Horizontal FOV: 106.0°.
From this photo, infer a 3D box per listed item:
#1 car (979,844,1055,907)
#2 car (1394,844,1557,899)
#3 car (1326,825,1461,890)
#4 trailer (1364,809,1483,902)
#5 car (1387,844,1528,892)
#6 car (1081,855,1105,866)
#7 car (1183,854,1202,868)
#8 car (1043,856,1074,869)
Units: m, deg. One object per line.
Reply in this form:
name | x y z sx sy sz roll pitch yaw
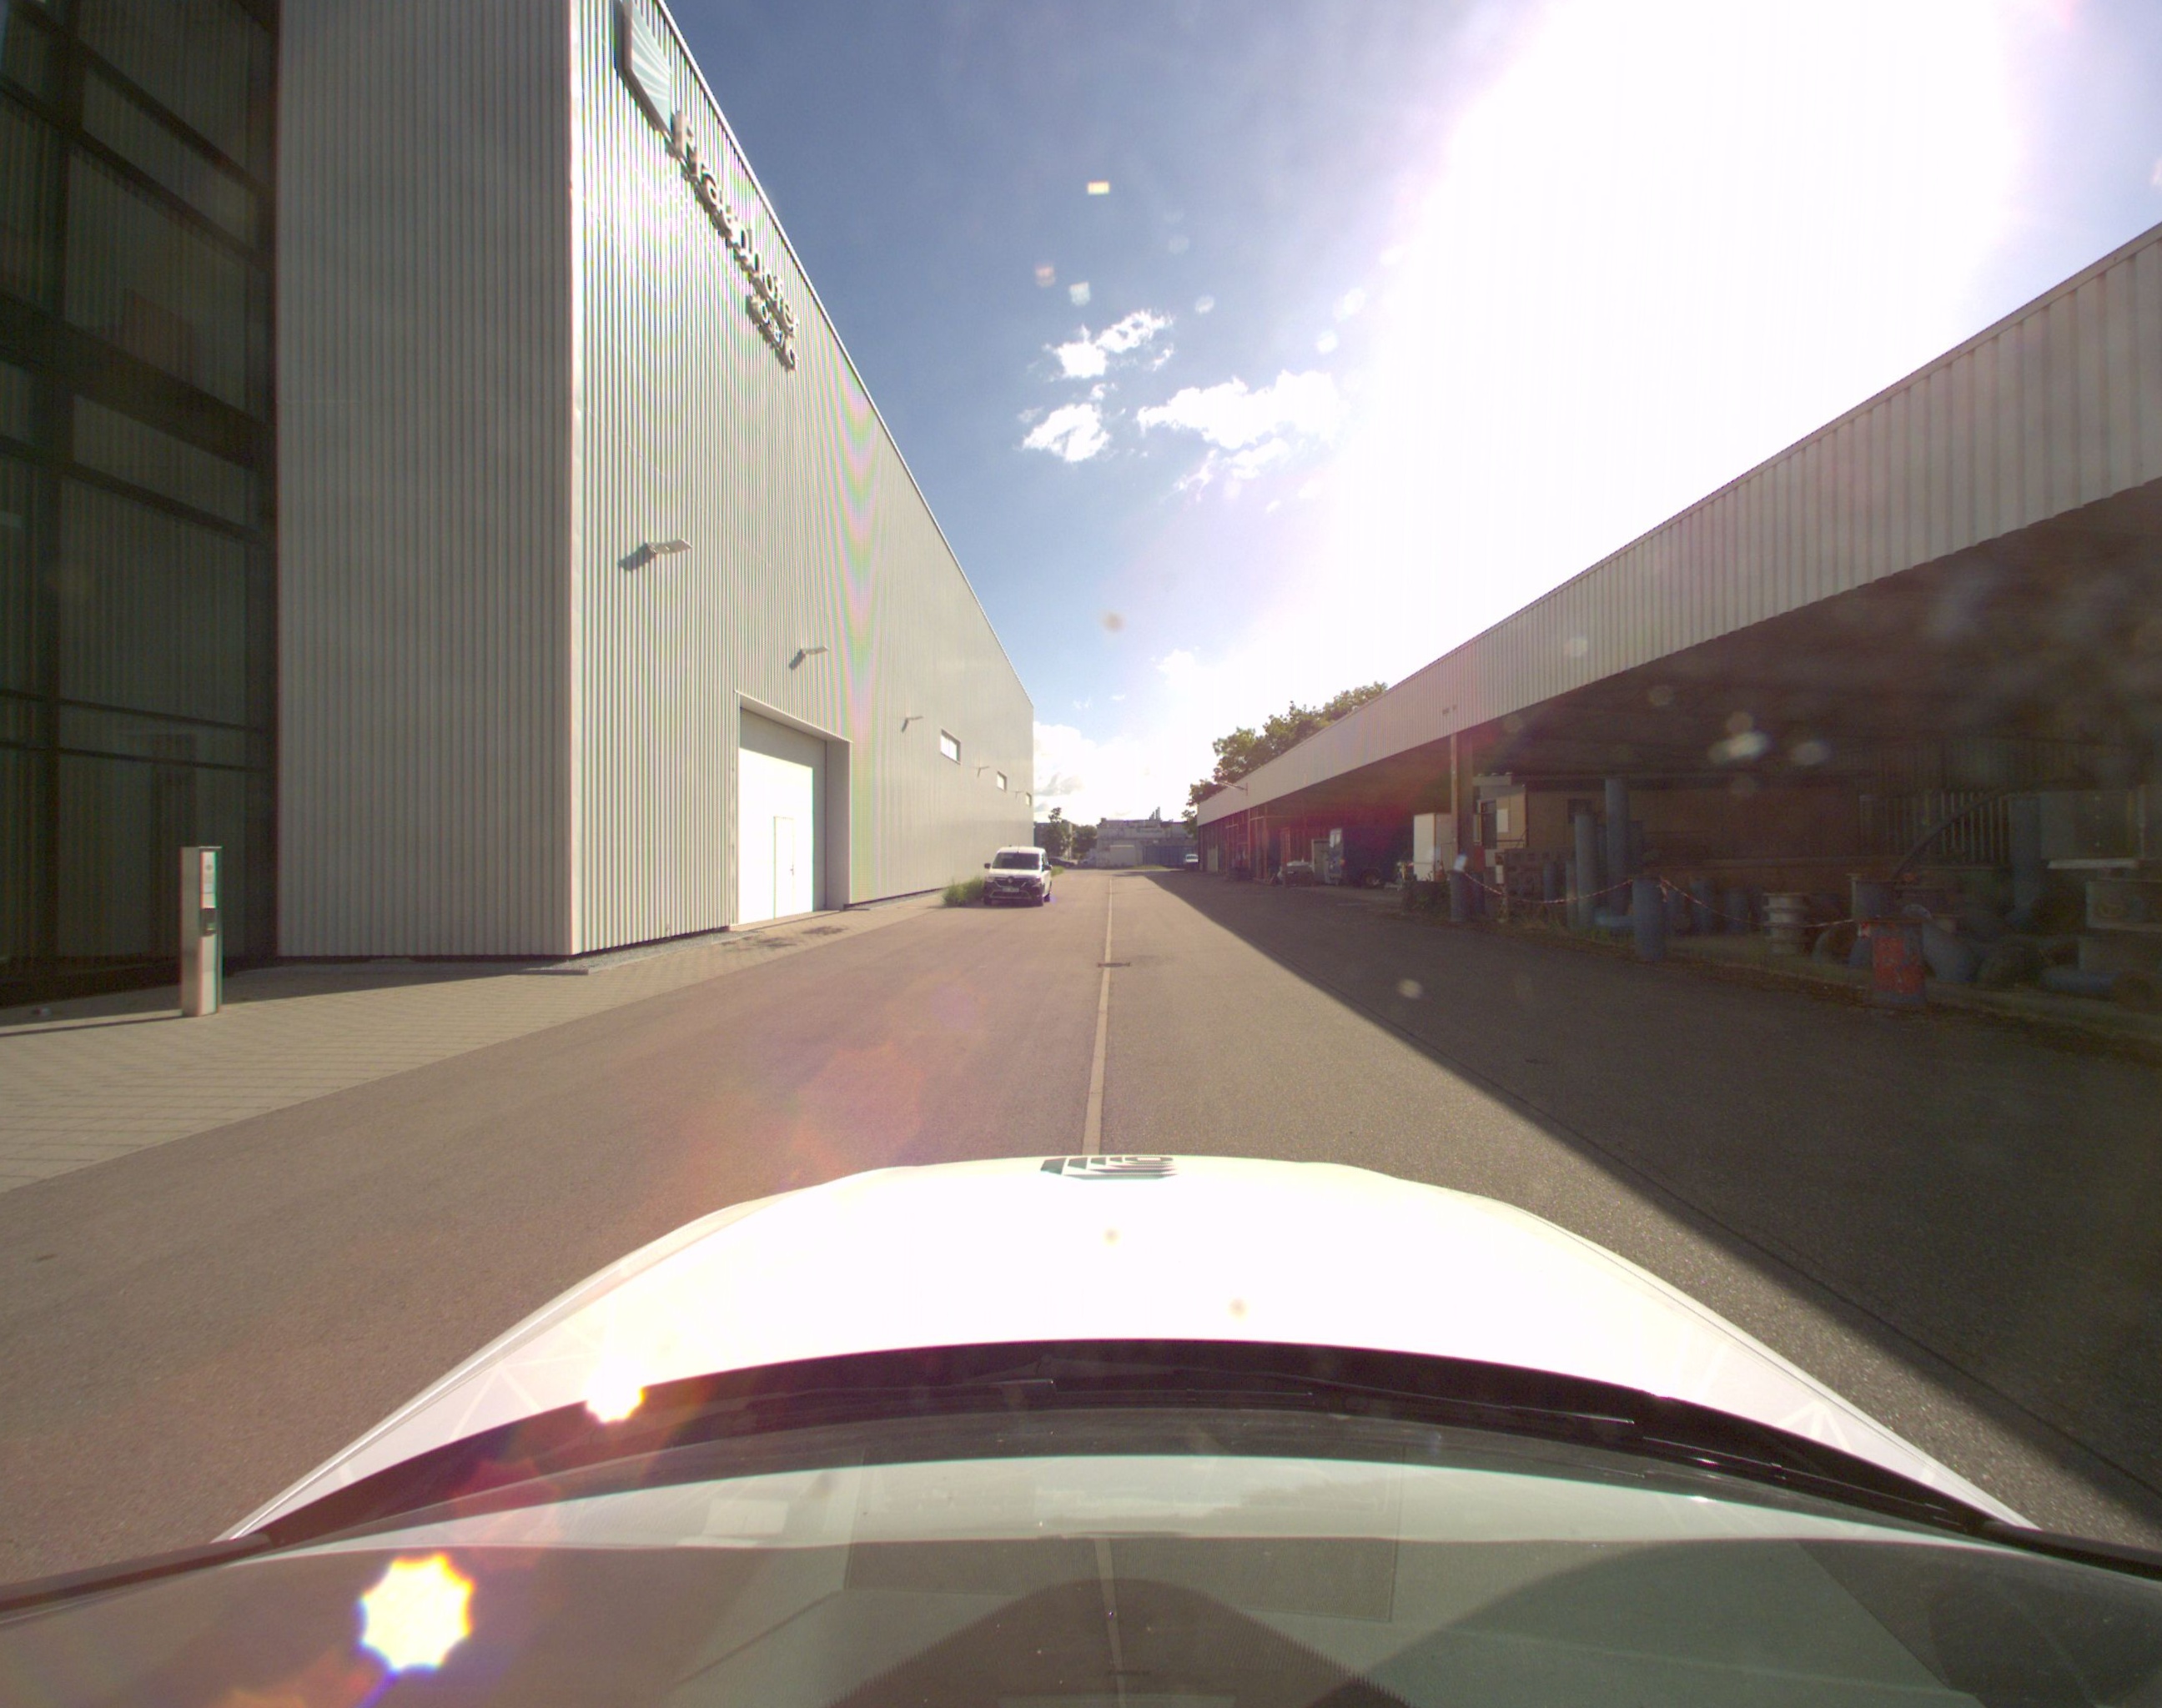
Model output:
car | -1.917 0.620 25.758 1.811 1.787 4.408 1 0 3
car | 11.620 0.532 24.182 4.021 1.525 1.685 1 -2 3
car | 11.690 0.166 30.710 4.414 2.310 1.916 1 -2 3
trailer | 9.174 0.060 21.987 2.513 2.399 1.728 -1 -1 3
car | 12.675 0.479 27.580 4.021 1.525 1.685 1 -2 3
car | 1.955 1.080 135.843 3.973 1.598 1.848 1 -2 1
car | 12.985 0.835 95.200 1.953 1.564 4.063 1 0 4
car | -2.956 1.109 108.075 3.973 1.598 1.741 1 -2 1
